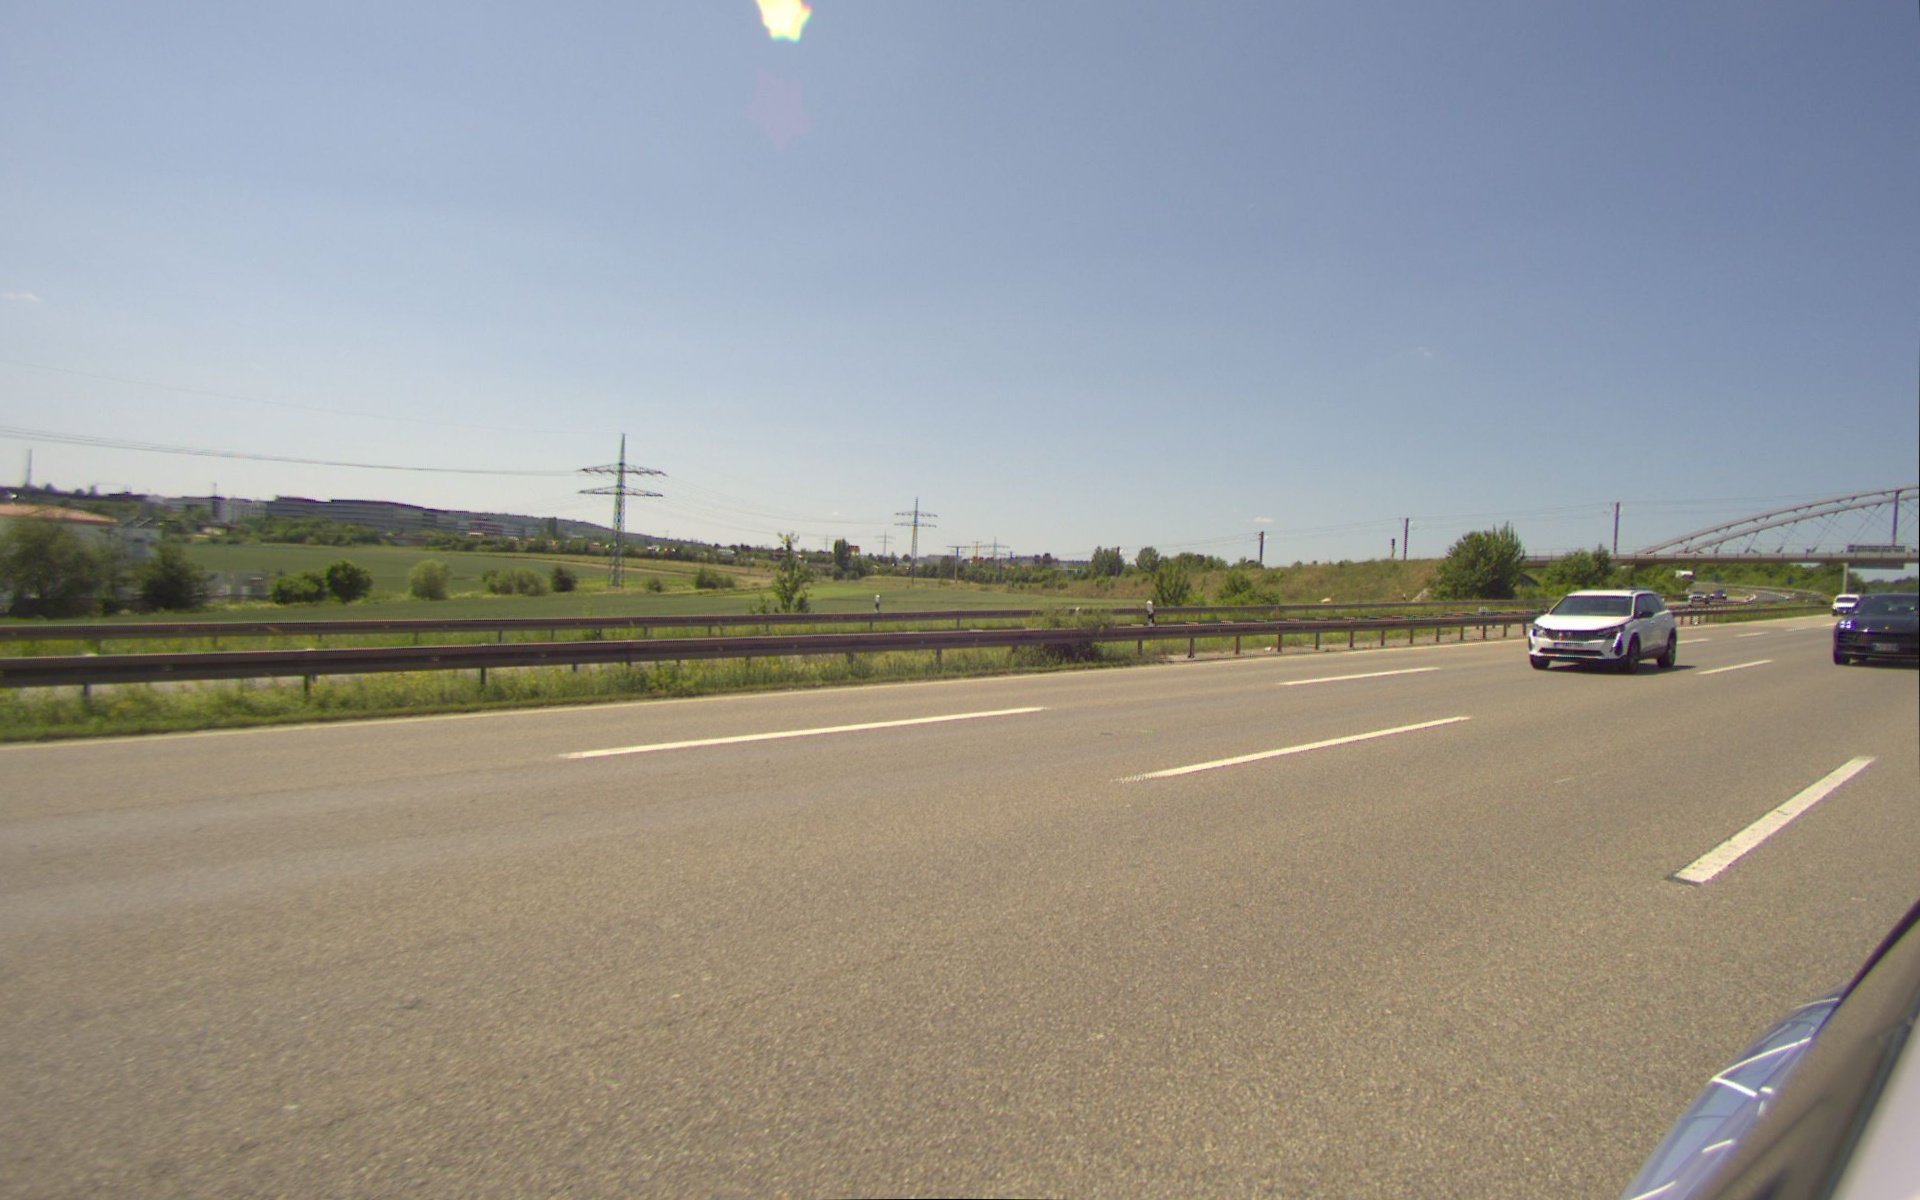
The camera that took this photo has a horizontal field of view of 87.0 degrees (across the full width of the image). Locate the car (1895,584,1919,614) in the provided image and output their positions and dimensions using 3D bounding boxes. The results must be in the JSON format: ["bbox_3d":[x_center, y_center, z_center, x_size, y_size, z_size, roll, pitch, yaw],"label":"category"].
[{"bbox_3d":[64.763,-0.098,68.684,1.804,1.943,4.226,0,1,45],"label":"car"}]

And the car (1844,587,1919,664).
[{"bbox_3d":[21.372,0.513,22.698,4.062,1.615,1.929,-1,1,-43],"label":"car"}]

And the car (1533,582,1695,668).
[{"bbox_3d":[13.743,0.442,21.162,4.541,1.611,1.746,-1,1,-42],"label":"car"}]

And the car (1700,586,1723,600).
[{"bbox_3d":[88.491,-0.790,119.153,1.700,1.594,4.061,0,1,45],"label":"car"}]

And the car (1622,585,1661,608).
[{"bbox_3d":[49.085,-0.296,72.814,1.699,1.594,4.063,0,1,43],"label":"car"}]
